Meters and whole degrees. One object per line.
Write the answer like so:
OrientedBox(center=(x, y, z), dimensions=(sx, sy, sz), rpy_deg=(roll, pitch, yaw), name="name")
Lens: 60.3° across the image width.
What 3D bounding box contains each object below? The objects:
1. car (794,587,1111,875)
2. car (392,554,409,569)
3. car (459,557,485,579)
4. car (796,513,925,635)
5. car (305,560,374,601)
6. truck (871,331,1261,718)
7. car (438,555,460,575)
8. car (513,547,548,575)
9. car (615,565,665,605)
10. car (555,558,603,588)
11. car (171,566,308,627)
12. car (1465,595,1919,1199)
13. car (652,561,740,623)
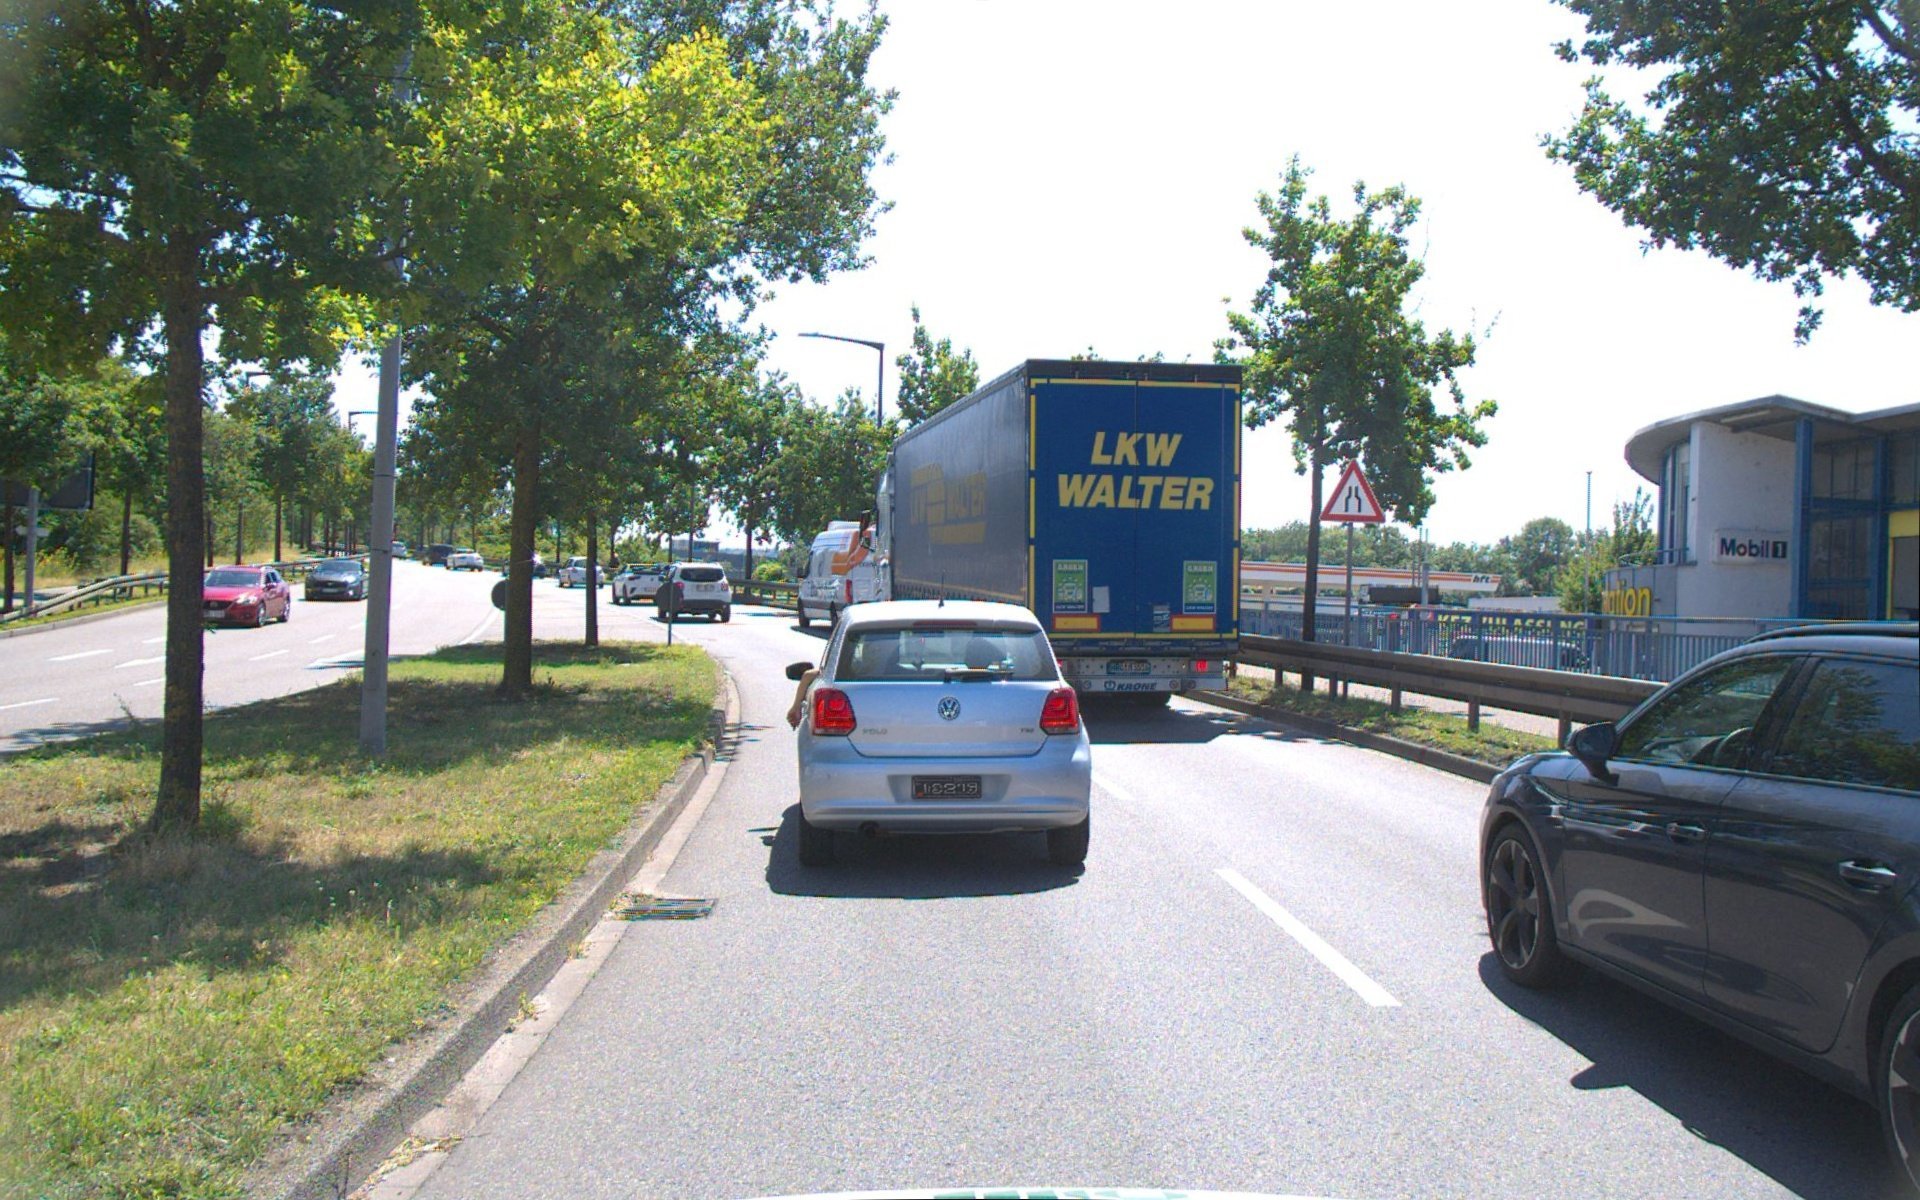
OrientedBox(center=(-0.100, 0.689, 10.328), dimensions=(1.613, 1.464, 3.535), rpy_deg=(1, 0, -2), name="car")
OrientedBox(center=(-47.154, -3.231, 139.420), dimensions=(1.302, 1.158, 2.977), rpy_deg=(1, 0, -20), name="car")
OrientedBox(center=(-31.890, -2.086, 108.086), dimensions=(1.435, 1.337, 3.617), rpy_deg=(1, 0, -19), name="car")
OrientedBox(center=(-2.750, -0.720, 43.800), dimensions=(2.140, 2.951, 6.333), rpy_deg=(1, 1, -15), name="car")
OrientedBox(center=(-21.994, -0.675, 58.776), dimensions=(1.779, 1.357, 4.552), rpy_deg=(1, 0, -14), name="car")
OrientedBox(center=(0.782, -0.896, 26.720), dimensions=(2.780, 4.271, 16.441), rpy_deg=(1, 0, -9), name="truck")
OrientedBox(center=(-36.965, -2.495, 119.618), dimensions=(1.396, 1.337, 3.319), rpy_deg=(1, 0, -19), name="car")
OrientedBox(center=(-24.780, -2.209, 95.364), dimensions=(1.640, 1.490, 3.561), rpy_deg=(1, 0, -19), name="car")
OrientedBox(center=(-11.731, -0.567, 60.511), dimensions=(1.470, 1.383, 3.646), rpy_deg=(1, 0, -16), name="car")
OrientedBox(center=(-18.557, -1.309, 80.540), dimensions=(1.587, 1.383, 3.634), rpy_deg=(1, 0, -24), name="car")
OrientedBox(center=(-18.302, -0.077, 42.244), dimensions=(1.795, 1.462, 4.521), rpy_deg=(-1, 0, -4), name="car")
OrientedBox(center=(3.082, 0.747, 4.984), dimensions=(1.573, 1.481, 4.232), rpy_deg=(1, 0, -4), name="car")
OrientedBox(center=(-7.913, -0.219, 49.263), dimensions=(1.874, 1.748, 4.200), rpy_deg=(1, 0, -19), name="car")
